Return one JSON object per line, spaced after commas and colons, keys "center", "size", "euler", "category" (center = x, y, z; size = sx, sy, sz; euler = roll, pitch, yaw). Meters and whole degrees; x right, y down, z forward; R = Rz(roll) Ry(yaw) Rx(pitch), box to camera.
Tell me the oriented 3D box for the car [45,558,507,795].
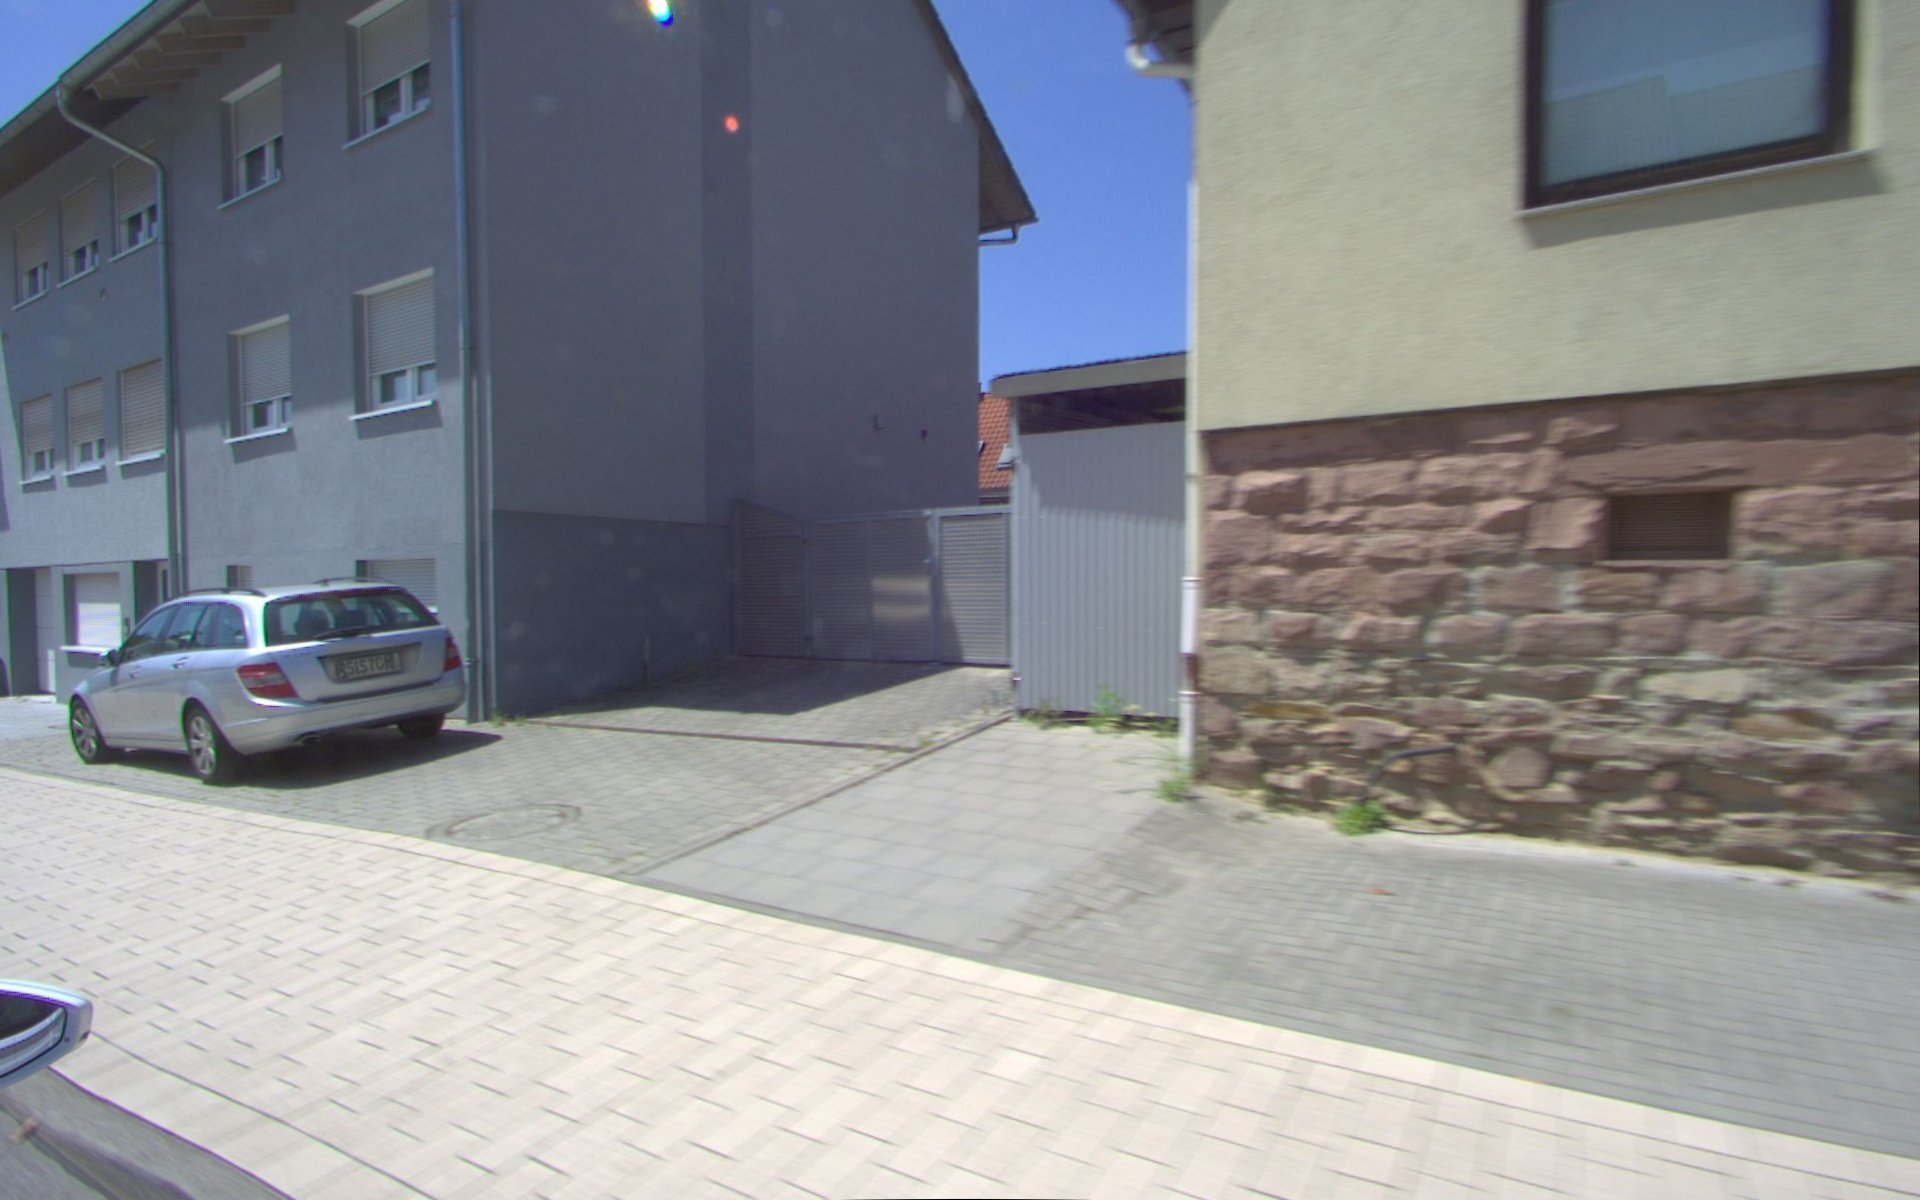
{"center": [-6.163, 0.537, 8.861], "size": [4.458, 1.563, 1.784], "euler": [-1, 4, 34], "category": "car"}
